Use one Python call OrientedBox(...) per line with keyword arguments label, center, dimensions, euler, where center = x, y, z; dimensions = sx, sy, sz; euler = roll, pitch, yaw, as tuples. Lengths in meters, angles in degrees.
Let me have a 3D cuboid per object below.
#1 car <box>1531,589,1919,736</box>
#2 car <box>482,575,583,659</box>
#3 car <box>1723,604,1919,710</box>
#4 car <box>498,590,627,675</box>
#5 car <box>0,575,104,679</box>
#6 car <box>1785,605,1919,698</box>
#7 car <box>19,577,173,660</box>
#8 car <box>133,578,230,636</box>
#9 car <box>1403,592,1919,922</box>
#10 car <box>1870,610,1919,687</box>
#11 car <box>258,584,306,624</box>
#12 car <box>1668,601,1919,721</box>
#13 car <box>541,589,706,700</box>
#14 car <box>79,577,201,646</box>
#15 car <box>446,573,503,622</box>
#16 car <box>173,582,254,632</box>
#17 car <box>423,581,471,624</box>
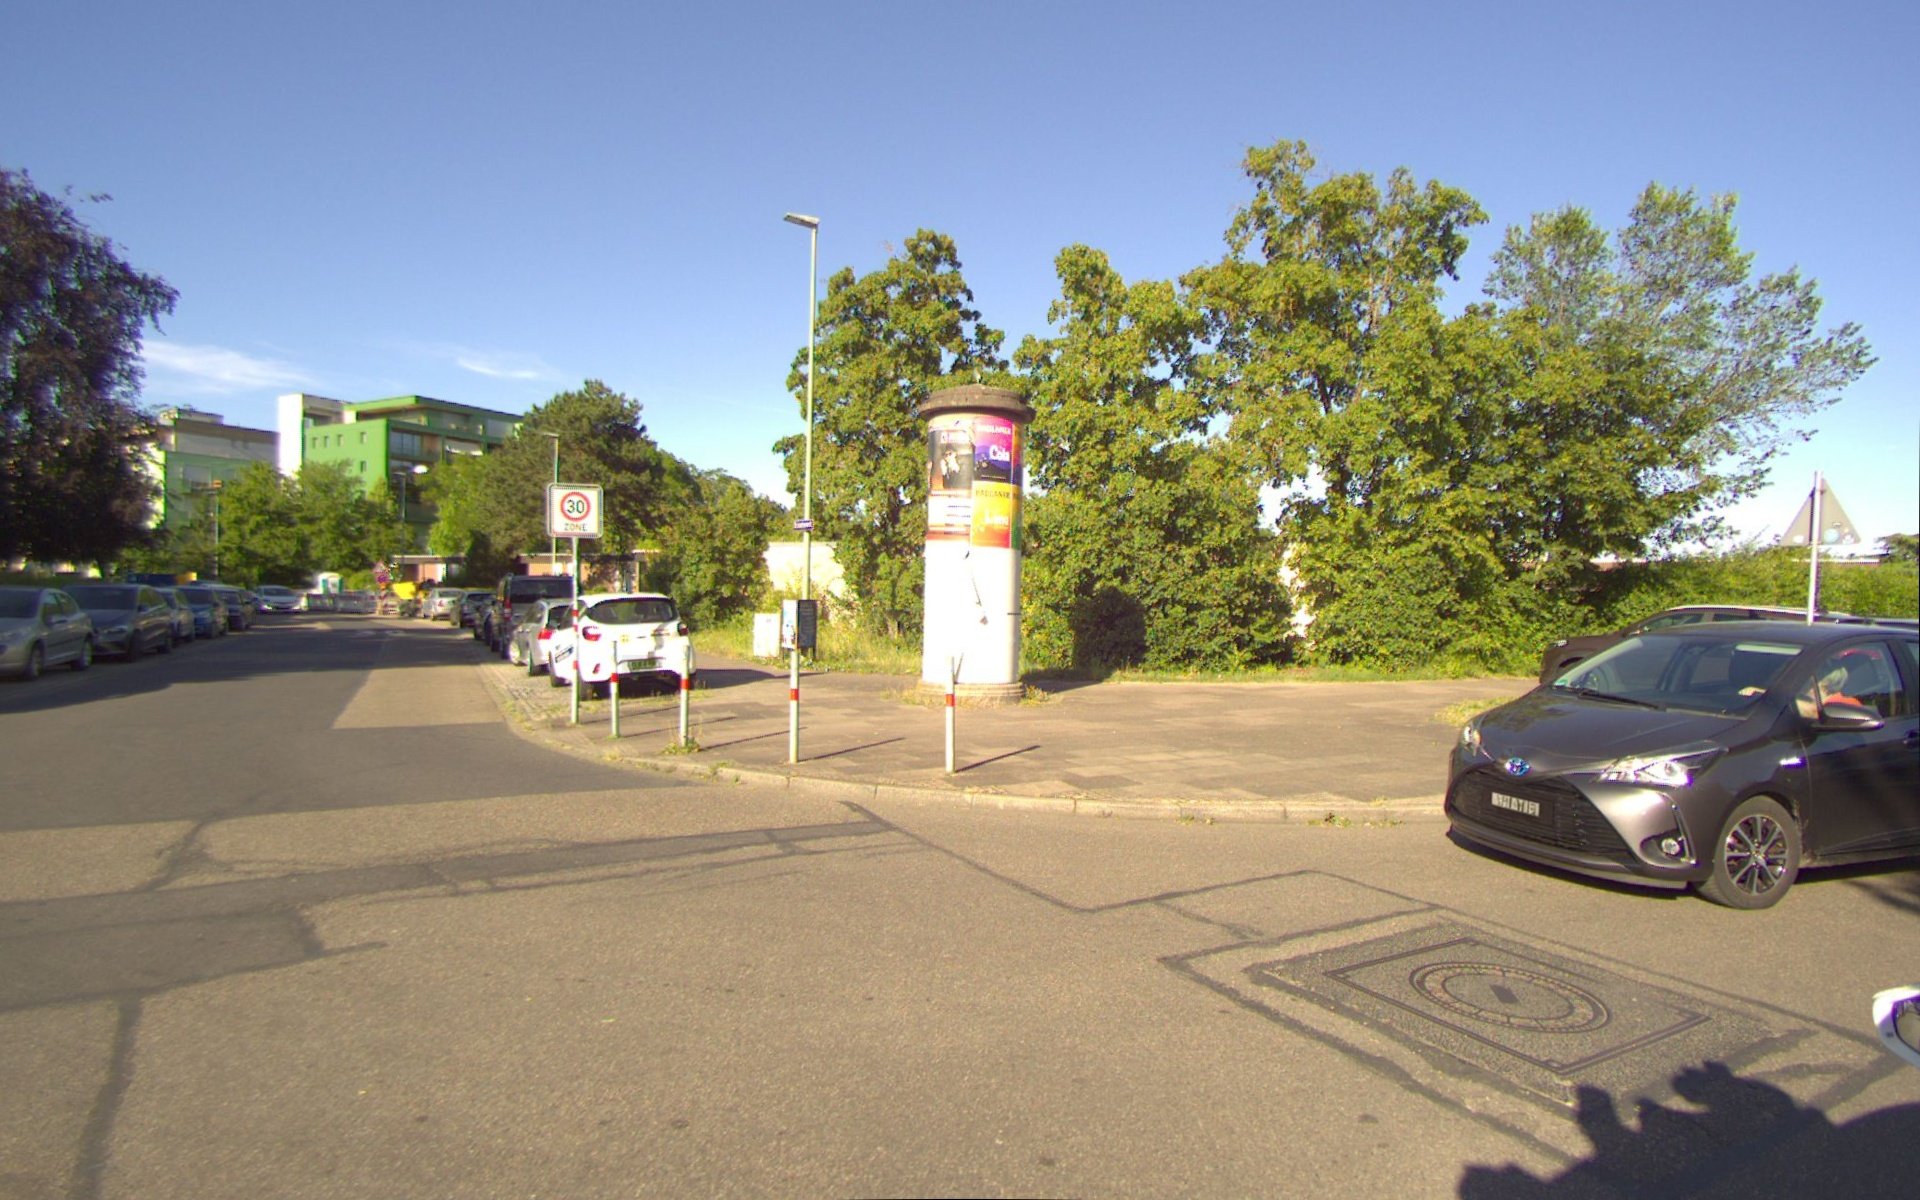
OrientedBox(label="car", center=(11.099, 0.793, 14.892), dimensions=(1.826, 1.678, 4.165), euler=(2, 2, -31))
OrientedBox(label="car", center=(-10.686, 0.384, 24.956), dimensions=(1.718, 1.880, 4.308), euler=(-2, 1, -31))
OrientedBox(label="car", center=(15.733, 0.974, 17.001), dimensions=(1.792, 1.533, 4.071), euler=(2, 2, -30))
OrientedBox(label="car", center=(-8.027, 0.576, 20.056), dimensions=(1.718, 1.481, 4.308), euler=(-2, 1, -31))
OrientedBox(label="car", center=(-15.775, 0.407, 16.664), dimensions=(1.726, 1.563, 3.895), euler=(2, -1, -31))
OrientedBox(label="car", center=(17.860, 0.995, 18.243), dimensions=(1.884, 1.533, 3.998), euler=(2, 2, -30))
OrientedBox(label="car", center=(-17.999, 0.385, 21.130), dimensions=(1.726, 1.563, 4.066), euler=(2, -1, -31))
OrientedBox(label="car", center=(-22.893, 0.213, 29.685), dimensions=(1.726, 1.563, 4.066), euler=(2, -1, -31))
OrientedBox(label="car", center=(4.940, 0.825, 6.280), dimensions=(3.941, 1.576, 1.647), euler=(2, -1, -21))
OrientedBox(label="car", center=(20.621, 1.060, 19.502), dimensions=(1.769, 1.499, 3.969), euler=(1, 3, -29))
OrientedBox(label="car", center=(-36.653, 0.209, 54.372), dimensions=(1.978, 2.040, 3.964), euler=(1, 0, -32))
OrientedBox(label="car", center=(13.877, 0.922, 15.864), dimensions=(1.811, 1.553, 3.966), euler=(2, 2, -30))
OrientedBox(label="car", center=(-5.351, 0.612, 15.705), dimensions=(1.718, 1.481, 3.501), euler=(-2, 1, -31))
OrientedBox(label="car", center=(-20.410, 0.292, 25.169), dimensions=(1.726, 1.563, 4.066), euler=(2, -1, -31))
OrientedBox(label="car", center=(-19.542, -0.109, 40.376), dimensions=(1.718, 1.880, 4.308), euler=(0, 0, -31))
OrientedBox(label="car", center=(-25.120, 0.246, 33.915), dimensions=(1.726, 1.563, 4.066), euler=(2, -1, -31))
OrientedBox(label="car", center=(-24.019, 0.098, 46.950), dimensions=(1.718, 1.880, 4.308), euler=(0, 0, -31))
